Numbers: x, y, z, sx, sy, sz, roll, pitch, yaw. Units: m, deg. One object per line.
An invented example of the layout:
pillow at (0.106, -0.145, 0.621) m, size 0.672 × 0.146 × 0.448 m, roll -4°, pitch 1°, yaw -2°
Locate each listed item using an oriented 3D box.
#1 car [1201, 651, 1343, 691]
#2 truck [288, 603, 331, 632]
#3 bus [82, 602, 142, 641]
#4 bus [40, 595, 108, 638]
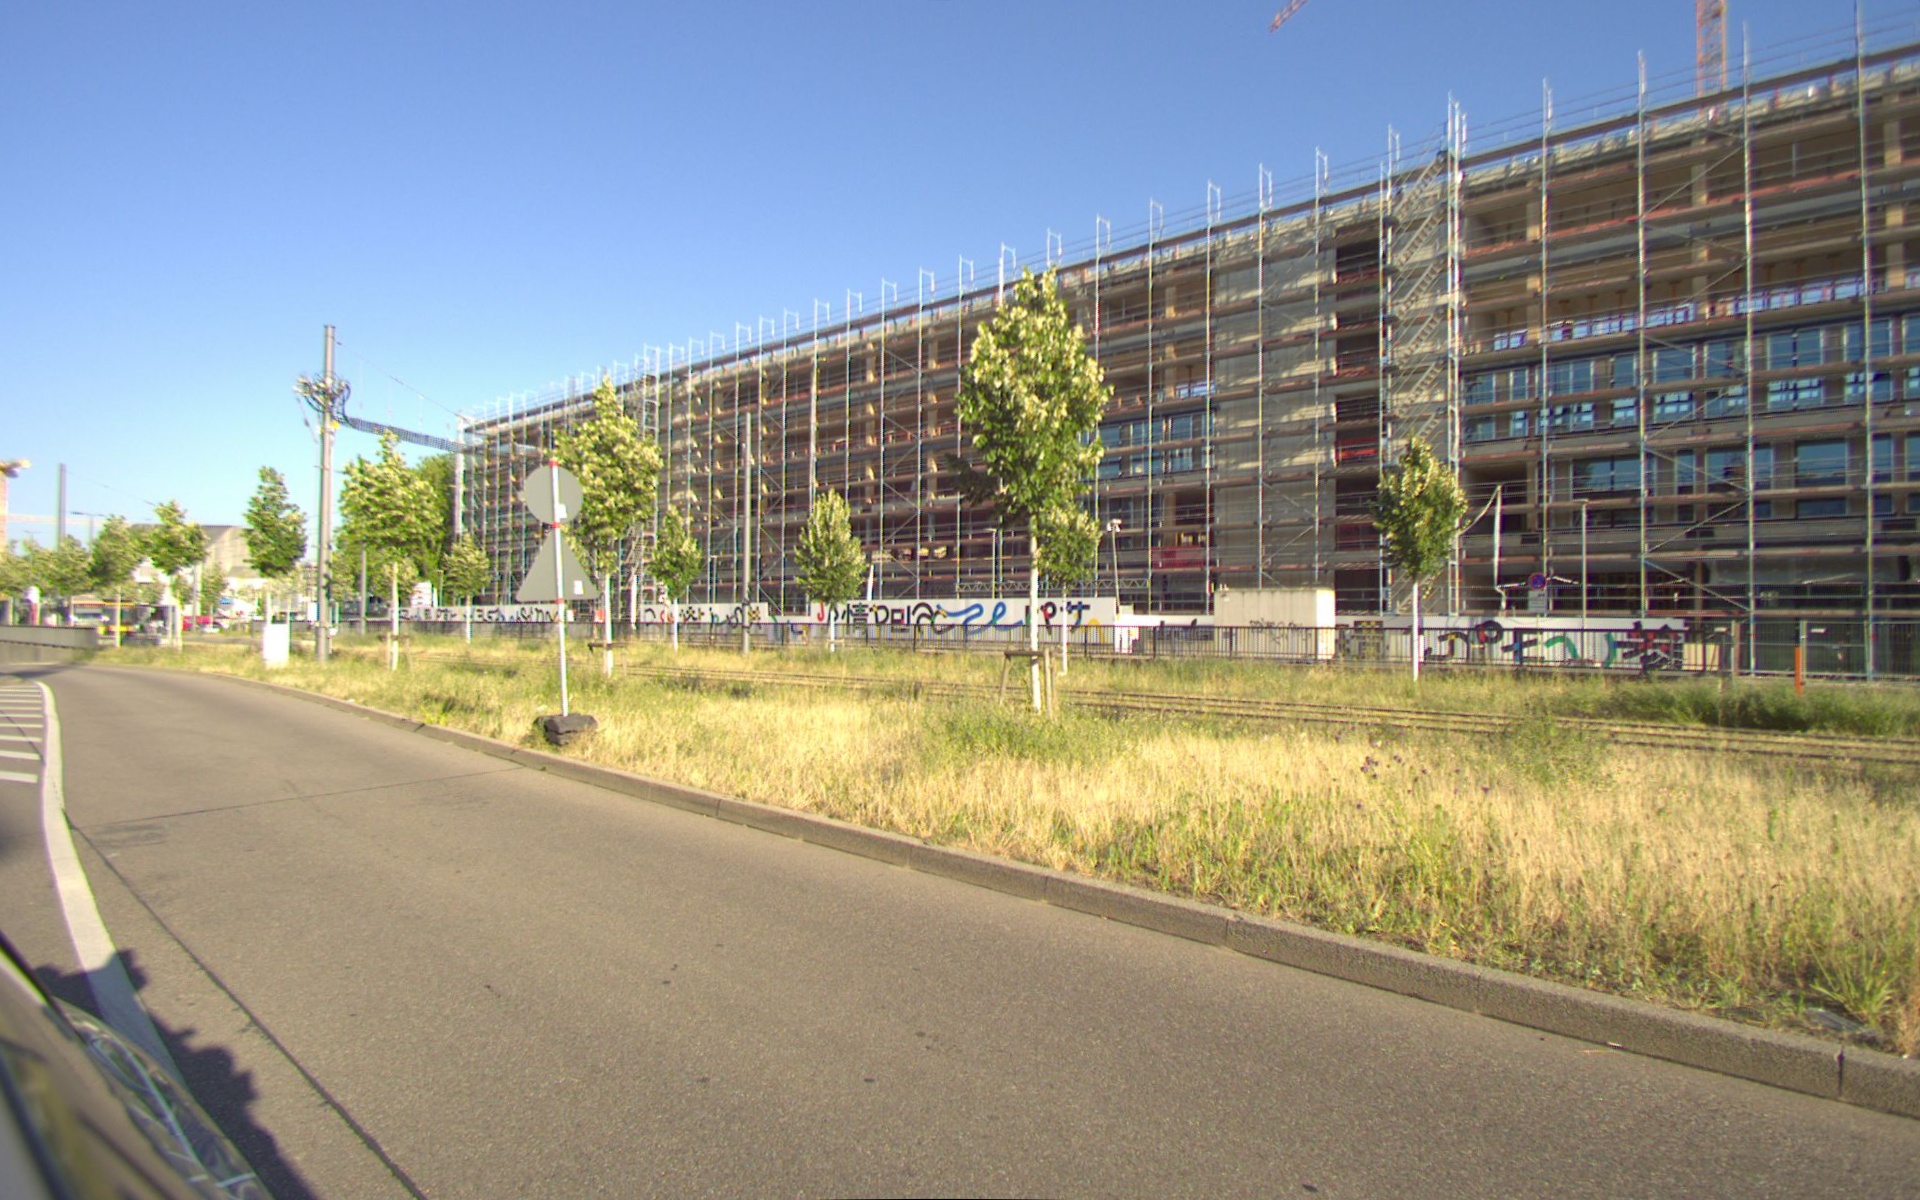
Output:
car at (9.473, 2.122, 30.913) m, size 3.838 × 1.076 × 1.606 m, roll -1°, pitch -2°, yaw 40°
truck at (-59.212, 1.602, 92.109) m, size 4.738 × 2.593 × 2.115 m, roll -1°, pitch -2°, yaw 42°
bus at (-72.957, 1.868, 86.988) m, size 8.652 × 3.247 × 2.688 m, roll -1°, pitch -2°, yaw 42°
bus at (-70.208, 1.352, 80.119) m, size 8.648 × 3.247 × 2.690 m, roll -1°, pitch -2°, yaw 40°
